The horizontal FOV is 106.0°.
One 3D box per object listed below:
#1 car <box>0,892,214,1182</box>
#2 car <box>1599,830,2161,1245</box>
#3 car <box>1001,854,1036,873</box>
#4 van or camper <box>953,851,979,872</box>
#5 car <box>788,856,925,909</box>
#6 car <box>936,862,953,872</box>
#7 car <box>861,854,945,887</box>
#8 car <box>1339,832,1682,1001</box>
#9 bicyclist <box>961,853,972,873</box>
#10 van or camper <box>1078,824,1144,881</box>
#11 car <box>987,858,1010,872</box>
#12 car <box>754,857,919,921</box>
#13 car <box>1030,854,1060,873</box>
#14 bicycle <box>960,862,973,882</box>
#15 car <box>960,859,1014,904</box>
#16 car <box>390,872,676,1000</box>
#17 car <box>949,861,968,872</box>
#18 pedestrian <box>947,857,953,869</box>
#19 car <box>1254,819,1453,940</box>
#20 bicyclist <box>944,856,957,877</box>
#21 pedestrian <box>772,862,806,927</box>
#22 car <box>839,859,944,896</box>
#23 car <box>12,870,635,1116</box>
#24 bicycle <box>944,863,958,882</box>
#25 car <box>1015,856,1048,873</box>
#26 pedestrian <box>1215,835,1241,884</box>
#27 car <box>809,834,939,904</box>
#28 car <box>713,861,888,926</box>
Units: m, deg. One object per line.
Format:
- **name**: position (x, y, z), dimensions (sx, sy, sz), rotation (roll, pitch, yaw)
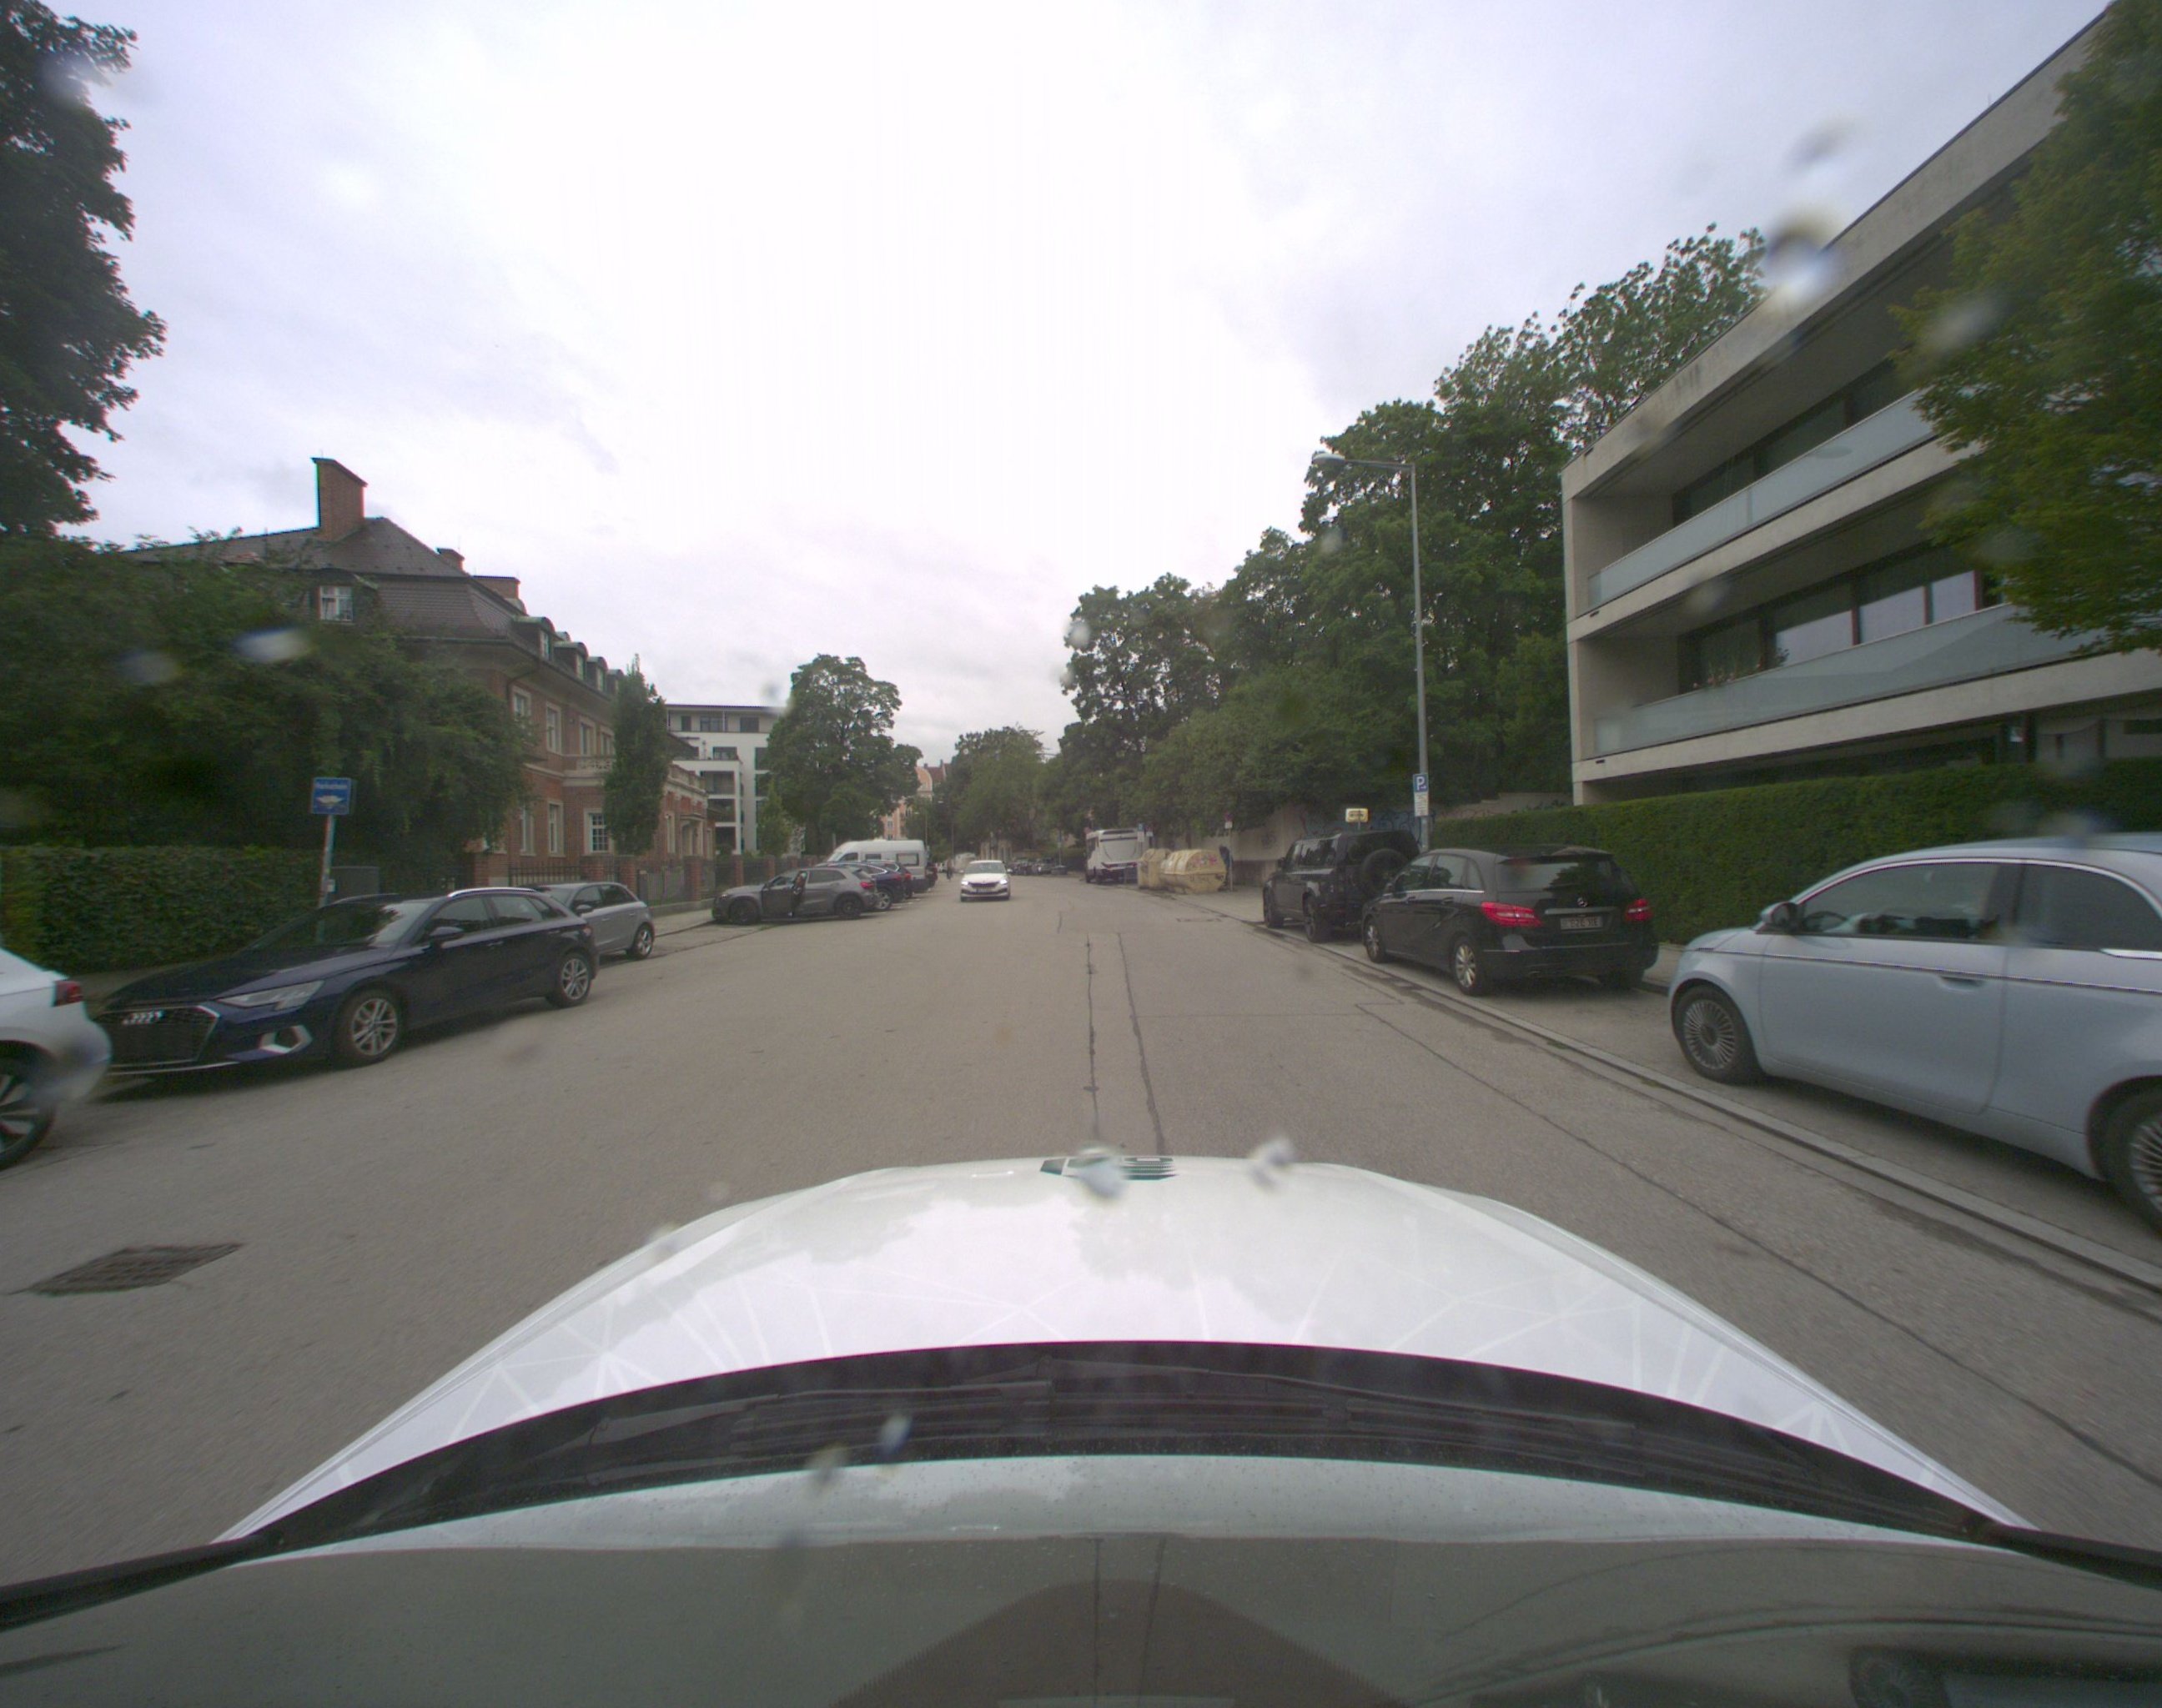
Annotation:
- **car**: position (-6.928, 1.108, 3.270), dimensions (1.838, 1.535, 4.524), rotation (-4, 0, 2)
- **car**: position (4.820, 0.648, 4.291), dimensions (1.741, 1.480, 3.889), rotation (-2, 0, 1)
- **car**: position (-6.239, 0.909, 80.716), dimensions (2.001, 1.711, 4.850), rotation (-4, 0, -21)
- **van or camper**: position (-15.075, 0.981, 106.462), dimensions (2.199, 2.550, 5.691), rotation (-3, 0, -19)
- **car**: position (-8.400, 1.054, 30.569), dimensions (4.543, 1.625, 1.947), rotation (-3, -1, -32)
- **car**: position (-20.757, 1.913, 123.785), dimensions (1.713, 1.408, 4.102), rotation (-3, 0, -19)
- **car**: position (-10.791, 0.994, 49.594), dimensions (4.550, 1.665, 1.965), rotation (-3, 0, -39)
- **car**: position (4.809, 0.586, 10.017), dimensions (1.742, 1.539, 4.568), rotation (-2, 0, -1)
- **bicyclist**: position (-8.054, 0.647, 57.199), dimensions (0.697, 1.352, 0.926), rotation (-2, 0, -12)
- **van or camper**: position (1.576, -0.071, 46.714), dimensions (2.272, 2.906, 7.252), rotation (-2, 0, -10)
- **car**: position (-9.156, 1.204, 89.787), dimensions (1.690, 1.441, 3.975), rotation (-3, 0, -18)
- **car**: position (-7.605, 1.030, 25.471), dimensions (4.544, 1.593, 1.945), rotation (-4, 0, -32)
- **car**: position (-3.243, 0.819, 72.518), dimensions (1.746, 1.536, 2.925), rotation (-4, 0, -21)
- **bicycle**: position (-8.083, 1.254, 57.384), dimensions (0.707, 1.305, 2.110), rotation (-2, 0, -11)
- **car**: position (-3.425, 0.980, 30.349), dimensions (1.769, 1.475, 4.128), rotation (-2, 0, -4)
- **car**: position (-8.619, 1.180, 13.348), dimensions (1.734, 1.535, 4.149), rotation (-4, 0, 1)
- **car**: position (-16.908, 1.706, 112.453), dimensions (1.713, 1.369, 4.102), rotation (-3, 0, -19)
- **pedestrian**: position (-21.112, 1.441, 131.059), dimensions (0.775, 2.014, 0.559), rotation (-2, -1, -18)
- **car**: position (4.835, 0.429, 15.389), dimensions (1.982, 1.871, 5.076), rotation (-1, -1, -1)
- **bicyclist**: position (-9.127, 0.873, 56.927), dimensions (0.698, 1.397, 0.925), rotation (-2, 0, -16)
- **pedestrian**: position (-7.690, 1.042, 21.485), dimensions (0.589, 1.648, 0.713), rotation (-3, -1, -5)
- **car**: position (-9.186, 1.128, 39.618), dimensions (4.547, 1.451, 1.956), rotation (-3, 1, -36)
- **car**: position (-6.745, 1.055, 8.187), dimensions (1.839, 1.535, 4.562), rotation (-4, 0, 1)
- **bicycle**: position (-9.126, 1.288, 56.984), dimensions (0.708, 1.305, 2.107), rotation (-2, 0, -15)
- **car**: position (-4.703, 0.999, 76.362), dimensions (1.884, 1.427, 4.192), rotation (-4, 0, -21)
- **pedestrian**: position (6.124, 0.226, 33.891), dimensions (0.798, 1.985, 0.627), rotation (-2, 0, -18)
- **car**: position (-8.529, 0.568, 33.589), dimensions (4.654, 2.563, 2.211), rotation (-3, 1, -32)
- **car**: position (-7.671, 1.053, 22.705), dimensions (4.334, 1.530, 1.925), rotation (-2, -1, -12)
